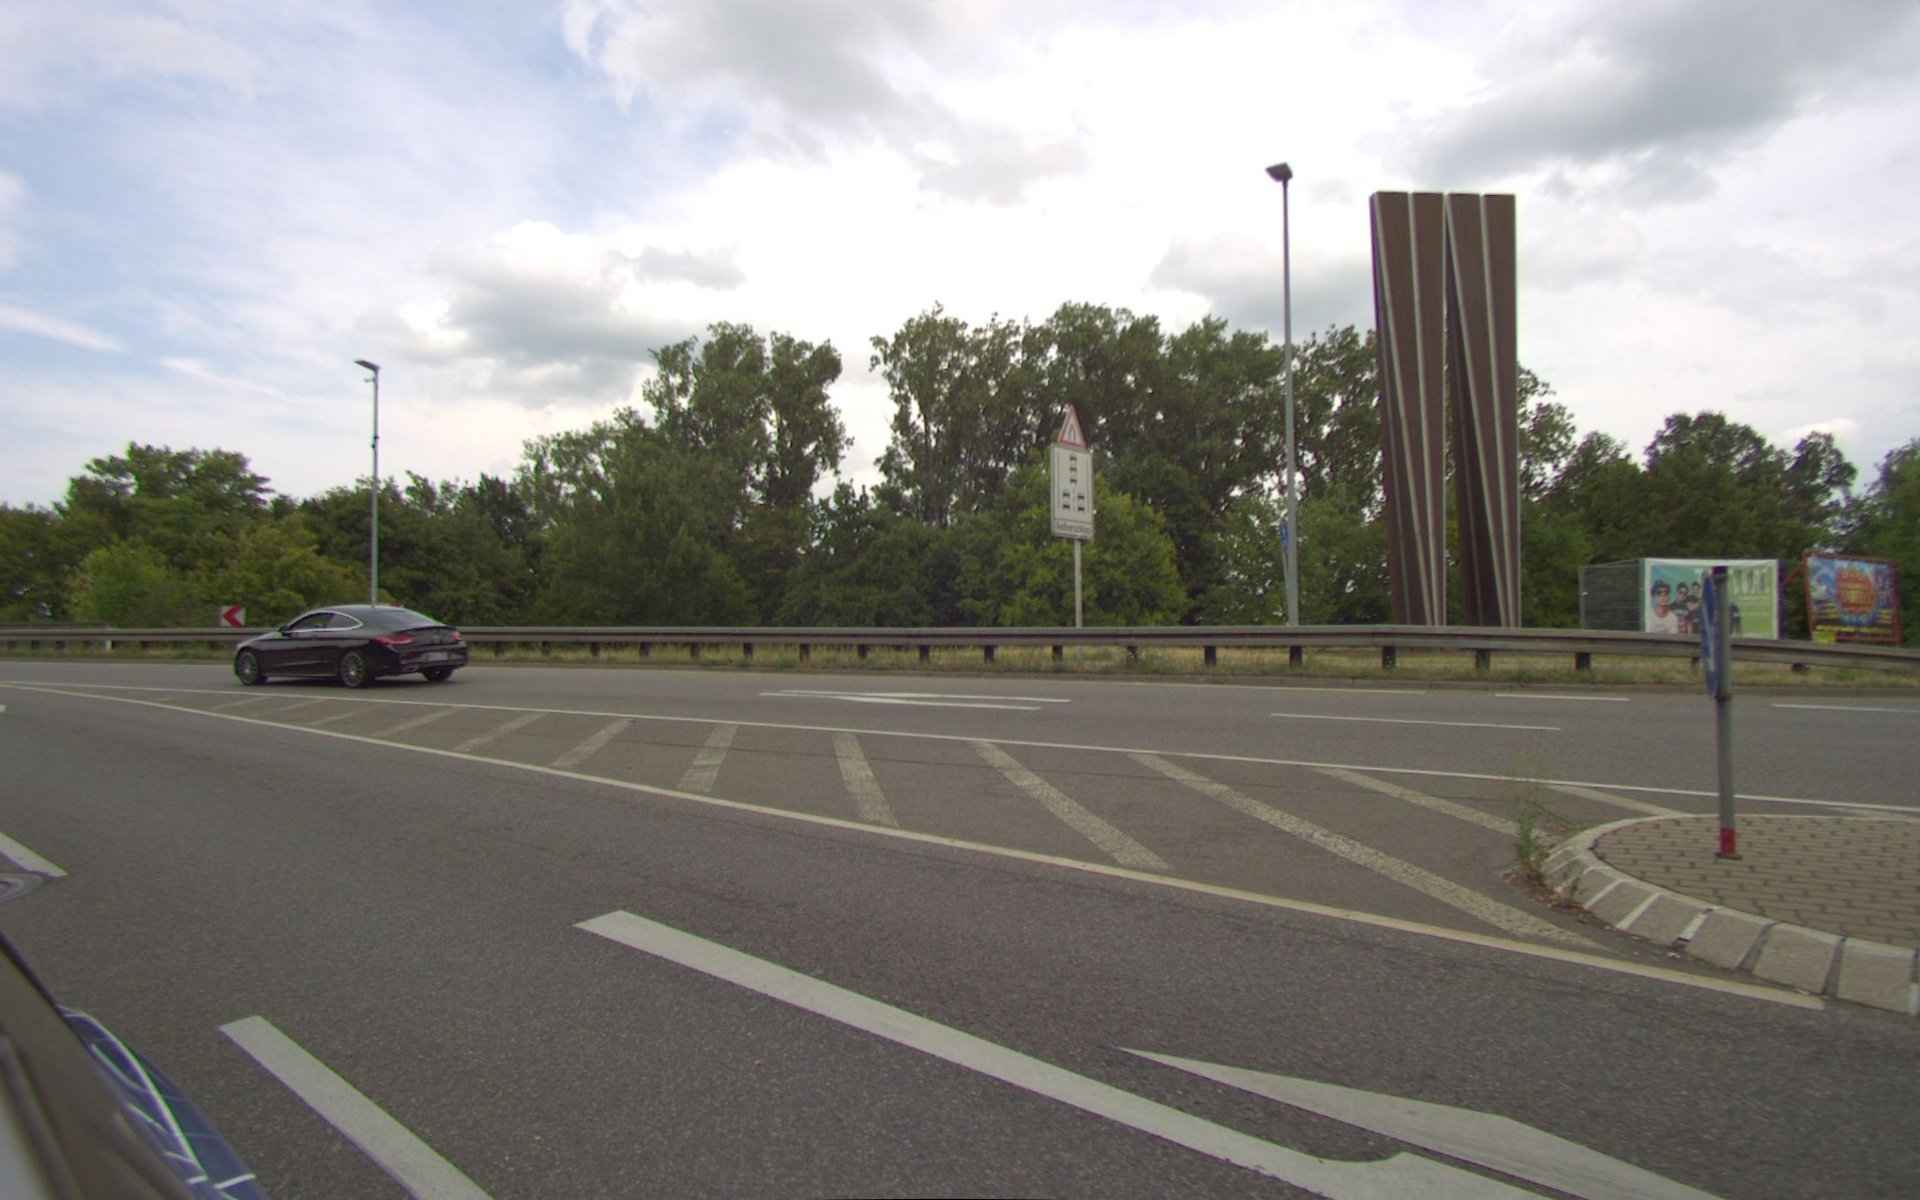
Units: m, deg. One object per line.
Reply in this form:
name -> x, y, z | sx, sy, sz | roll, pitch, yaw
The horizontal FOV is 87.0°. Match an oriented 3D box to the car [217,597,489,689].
car -> -10.921, 0.735, 18.181 | 4.628, 1.466, 1.983 | -1, -1, 26
